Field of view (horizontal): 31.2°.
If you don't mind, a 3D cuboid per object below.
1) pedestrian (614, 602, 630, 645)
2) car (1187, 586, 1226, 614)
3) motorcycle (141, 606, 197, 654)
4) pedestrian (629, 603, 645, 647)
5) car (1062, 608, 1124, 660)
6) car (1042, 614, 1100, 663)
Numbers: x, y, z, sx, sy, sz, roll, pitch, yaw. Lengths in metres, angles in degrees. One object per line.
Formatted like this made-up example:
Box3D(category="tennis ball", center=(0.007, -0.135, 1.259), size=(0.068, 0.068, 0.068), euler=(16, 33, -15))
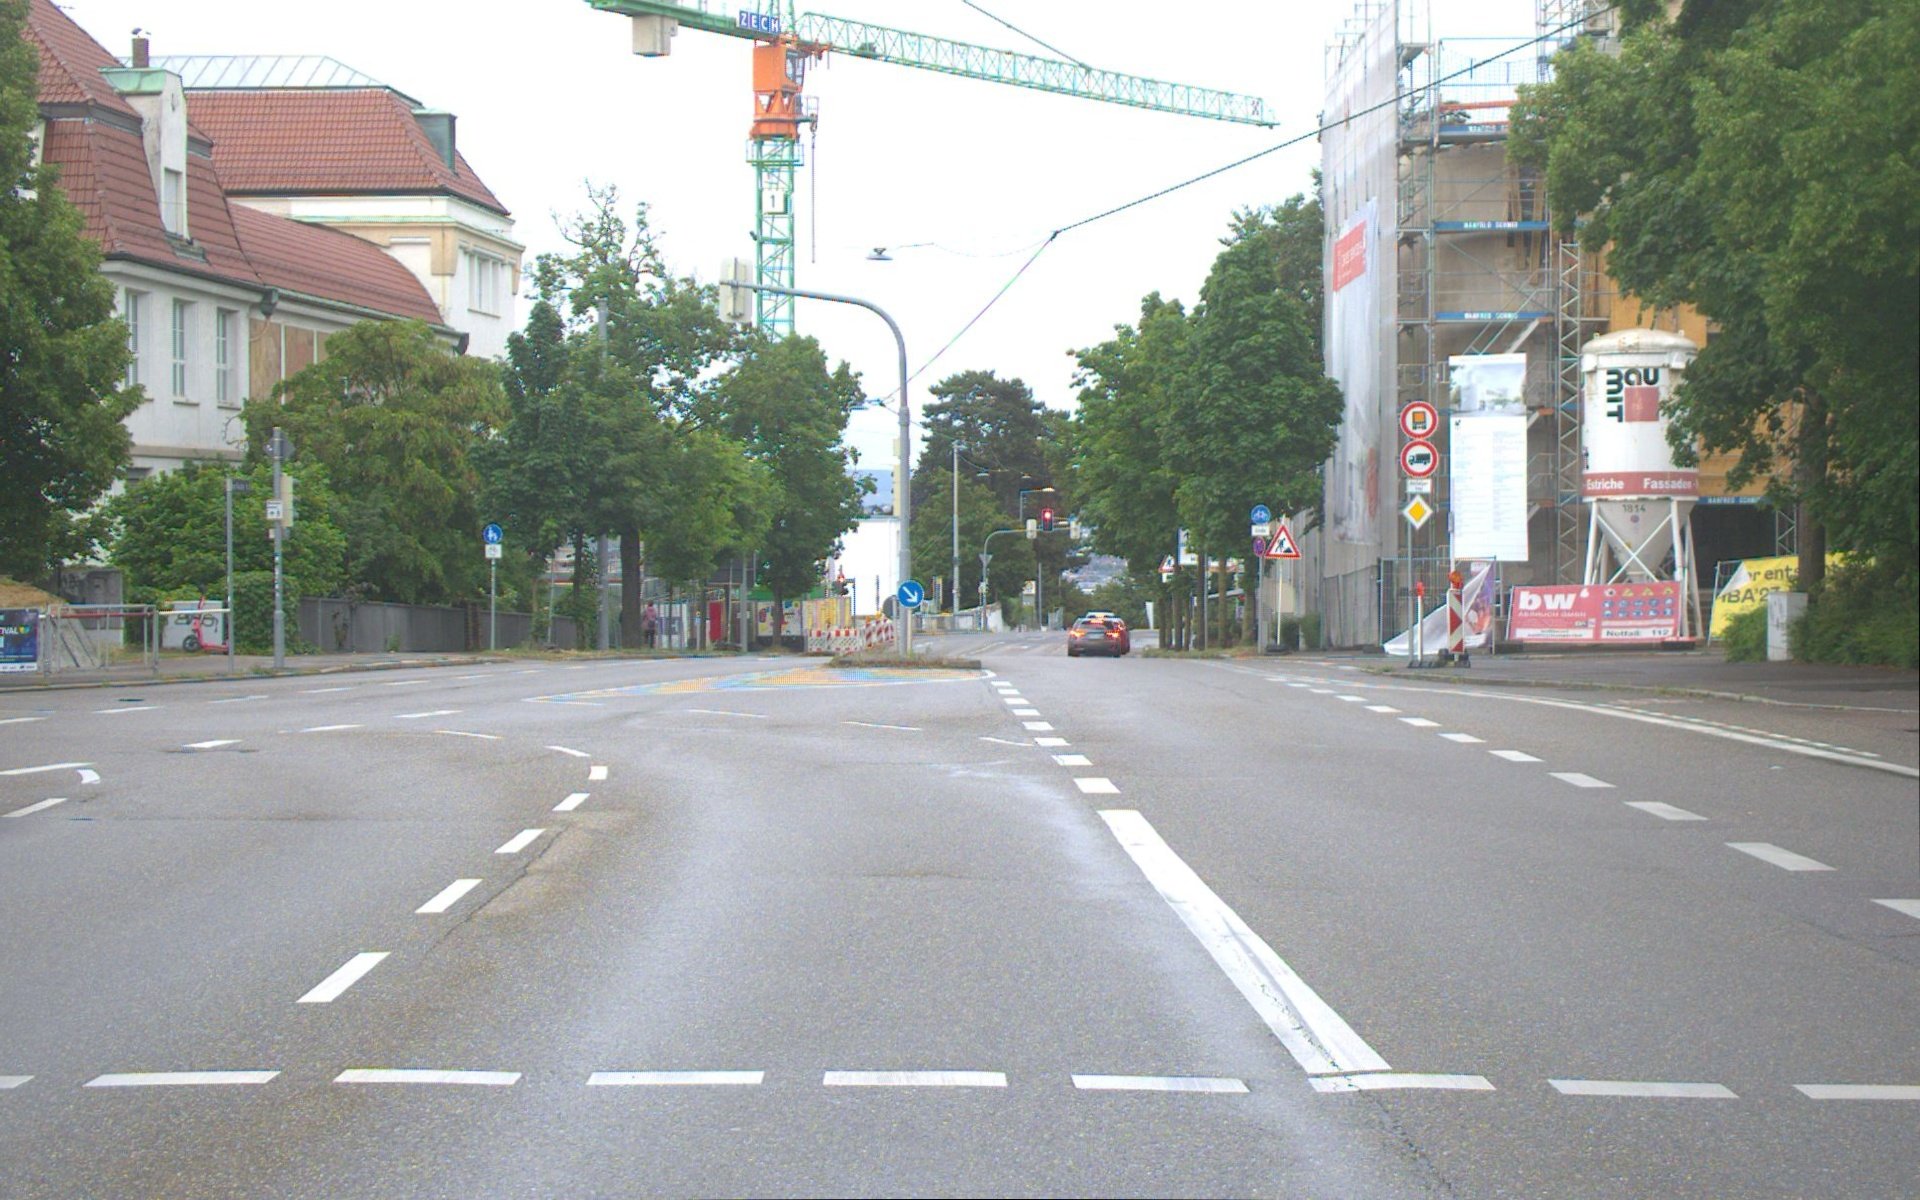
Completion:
Box3D(category="pedestrian", center=(-10.907, 0.766, 111.032), size=(0.474, 1.392, 0.411), euler=(0, 1, -1))
Box3D(category="car", center=(15.737, -0.016, 219.325), size=(1.994, 1.744, 3.998), euler=(-1, 1, 11))
Box3D(category="motorcycle", center=(-14.927, 0.566, 64.899), size=(0.849, 0.874, 0.877), euler=(1, 0, -1))
Box3D(category="pedestrian", center=(-10.430, 0.803, 110.940), size=(0.474, 1.392, 0.411), euler=(0, 1, -1))
Box3D(category="car", center=(4.767, 1.213, 124.089), size=(1.993, 1.744, 4.000), euler=(-1, 1, -1))
Box3D(category="car", center=(4.232, 1.452, 131.285), size=(1.993, 1.744, 4.000), euler=(-1, 1, -1))
